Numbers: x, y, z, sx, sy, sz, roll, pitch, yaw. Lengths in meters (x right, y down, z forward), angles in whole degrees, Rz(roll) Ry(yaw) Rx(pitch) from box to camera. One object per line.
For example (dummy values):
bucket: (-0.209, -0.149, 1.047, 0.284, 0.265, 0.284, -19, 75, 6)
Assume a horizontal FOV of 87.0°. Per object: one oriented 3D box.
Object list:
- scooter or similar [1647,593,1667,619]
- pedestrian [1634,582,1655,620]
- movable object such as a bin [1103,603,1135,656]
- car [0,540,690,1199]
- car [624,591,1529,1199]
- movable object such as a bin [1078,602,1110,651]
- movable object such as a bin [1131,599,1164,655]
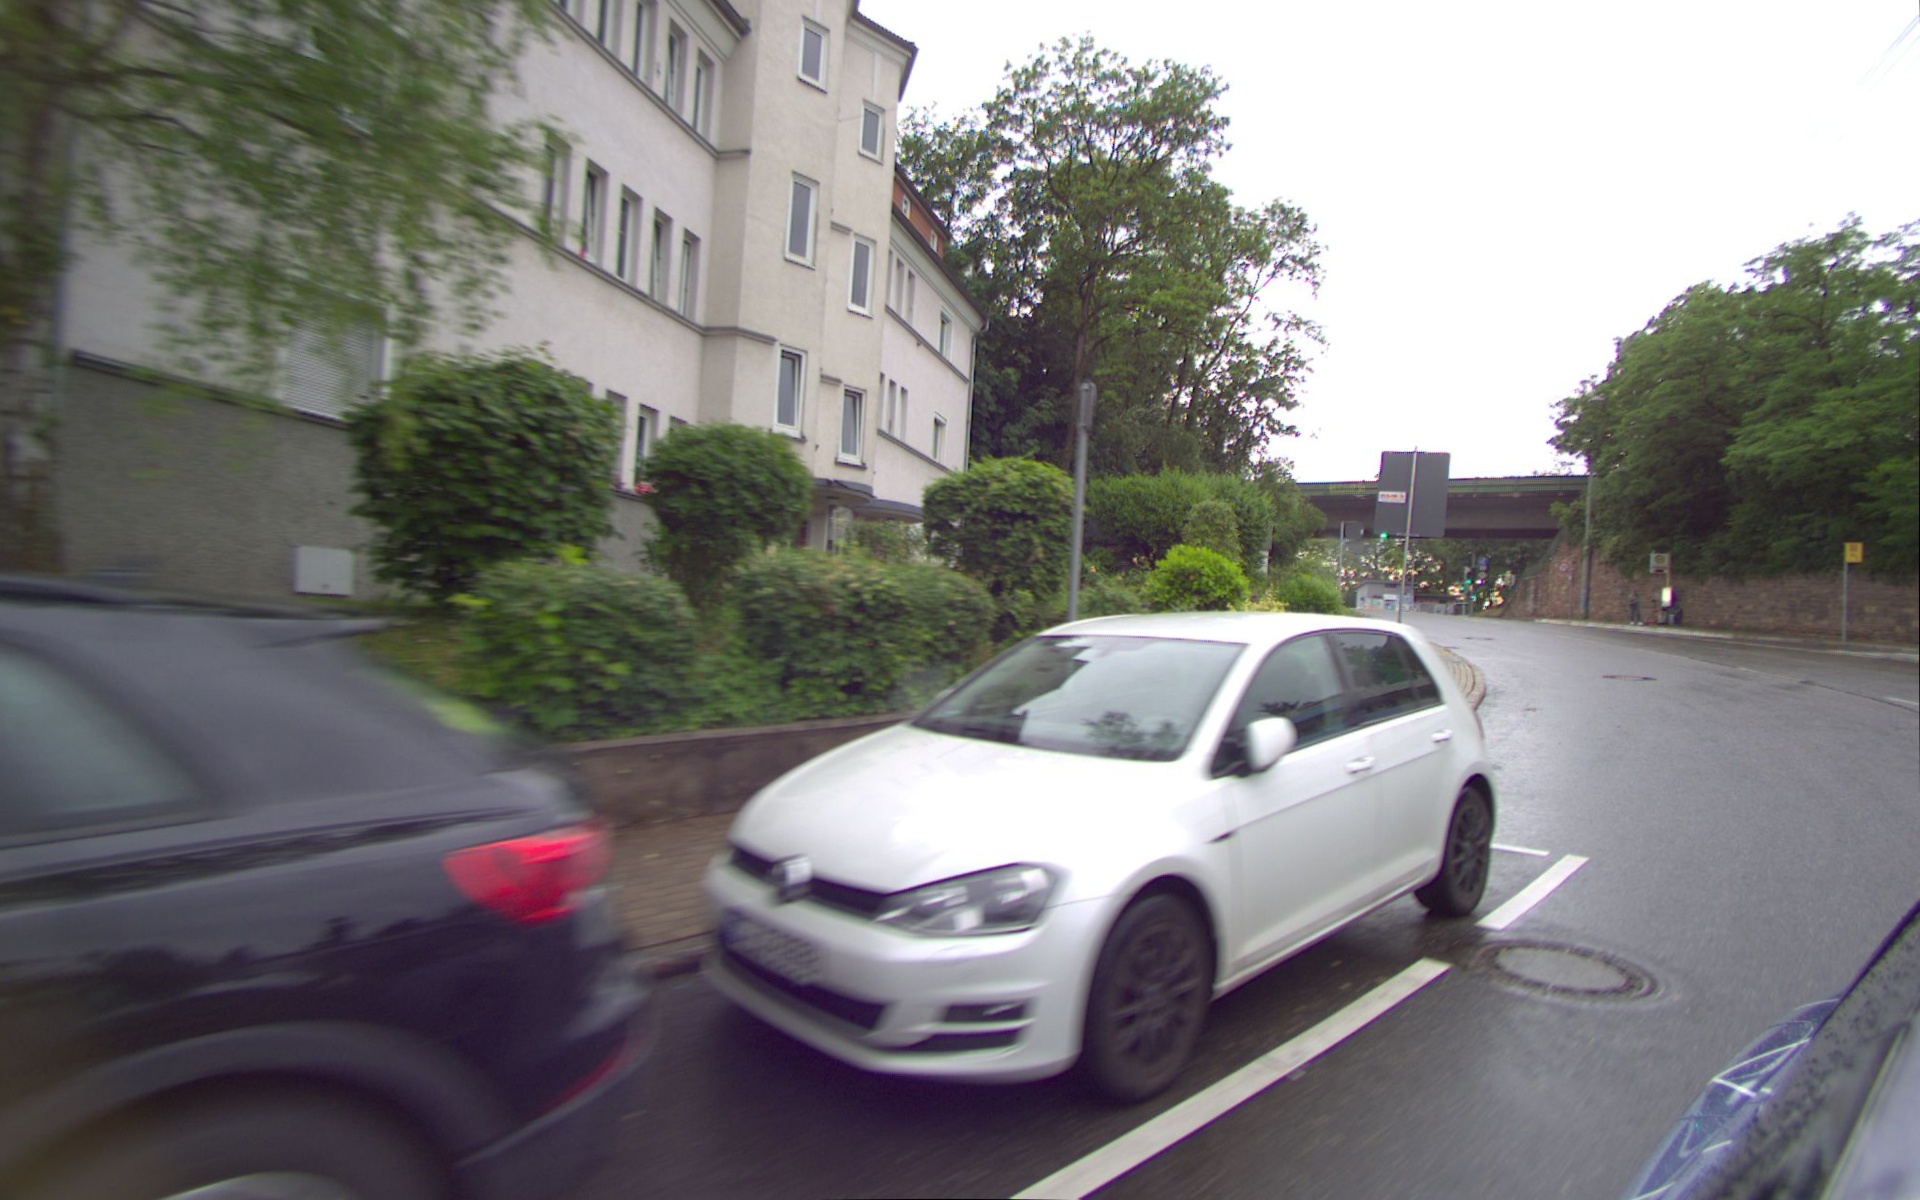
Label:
scooter or similar: (33.581, 0.281, 48.760, 0.369, 1.196, 1.122, 1, 2, 11)
pedestrian: (32.771, 0.044, 48.484, 0.580, 1.753, 0.621, 1, 1, 10)
movable object such as a bin: (3.129, 0.569, 19.866, 0.478, 0.982, 0.685, 1, 2, 20)
car: (-2.703, 0.691, 1.348, 4.246, 1.538, 1.629, 0, -1, -37)
car: (0.837, 0.724, 4.466, 4.037, 1.464, 1.791, -1, -1, -43)
movable object such as a bin: (2.658, 0.518, 20.043, 0.478, 0.909, 0.685, 1, 2, 20)
movable object such as a bin: (3.642, 0.507, 19.646, 0.525, 1.025, 0.685, 1, 2, 21)
